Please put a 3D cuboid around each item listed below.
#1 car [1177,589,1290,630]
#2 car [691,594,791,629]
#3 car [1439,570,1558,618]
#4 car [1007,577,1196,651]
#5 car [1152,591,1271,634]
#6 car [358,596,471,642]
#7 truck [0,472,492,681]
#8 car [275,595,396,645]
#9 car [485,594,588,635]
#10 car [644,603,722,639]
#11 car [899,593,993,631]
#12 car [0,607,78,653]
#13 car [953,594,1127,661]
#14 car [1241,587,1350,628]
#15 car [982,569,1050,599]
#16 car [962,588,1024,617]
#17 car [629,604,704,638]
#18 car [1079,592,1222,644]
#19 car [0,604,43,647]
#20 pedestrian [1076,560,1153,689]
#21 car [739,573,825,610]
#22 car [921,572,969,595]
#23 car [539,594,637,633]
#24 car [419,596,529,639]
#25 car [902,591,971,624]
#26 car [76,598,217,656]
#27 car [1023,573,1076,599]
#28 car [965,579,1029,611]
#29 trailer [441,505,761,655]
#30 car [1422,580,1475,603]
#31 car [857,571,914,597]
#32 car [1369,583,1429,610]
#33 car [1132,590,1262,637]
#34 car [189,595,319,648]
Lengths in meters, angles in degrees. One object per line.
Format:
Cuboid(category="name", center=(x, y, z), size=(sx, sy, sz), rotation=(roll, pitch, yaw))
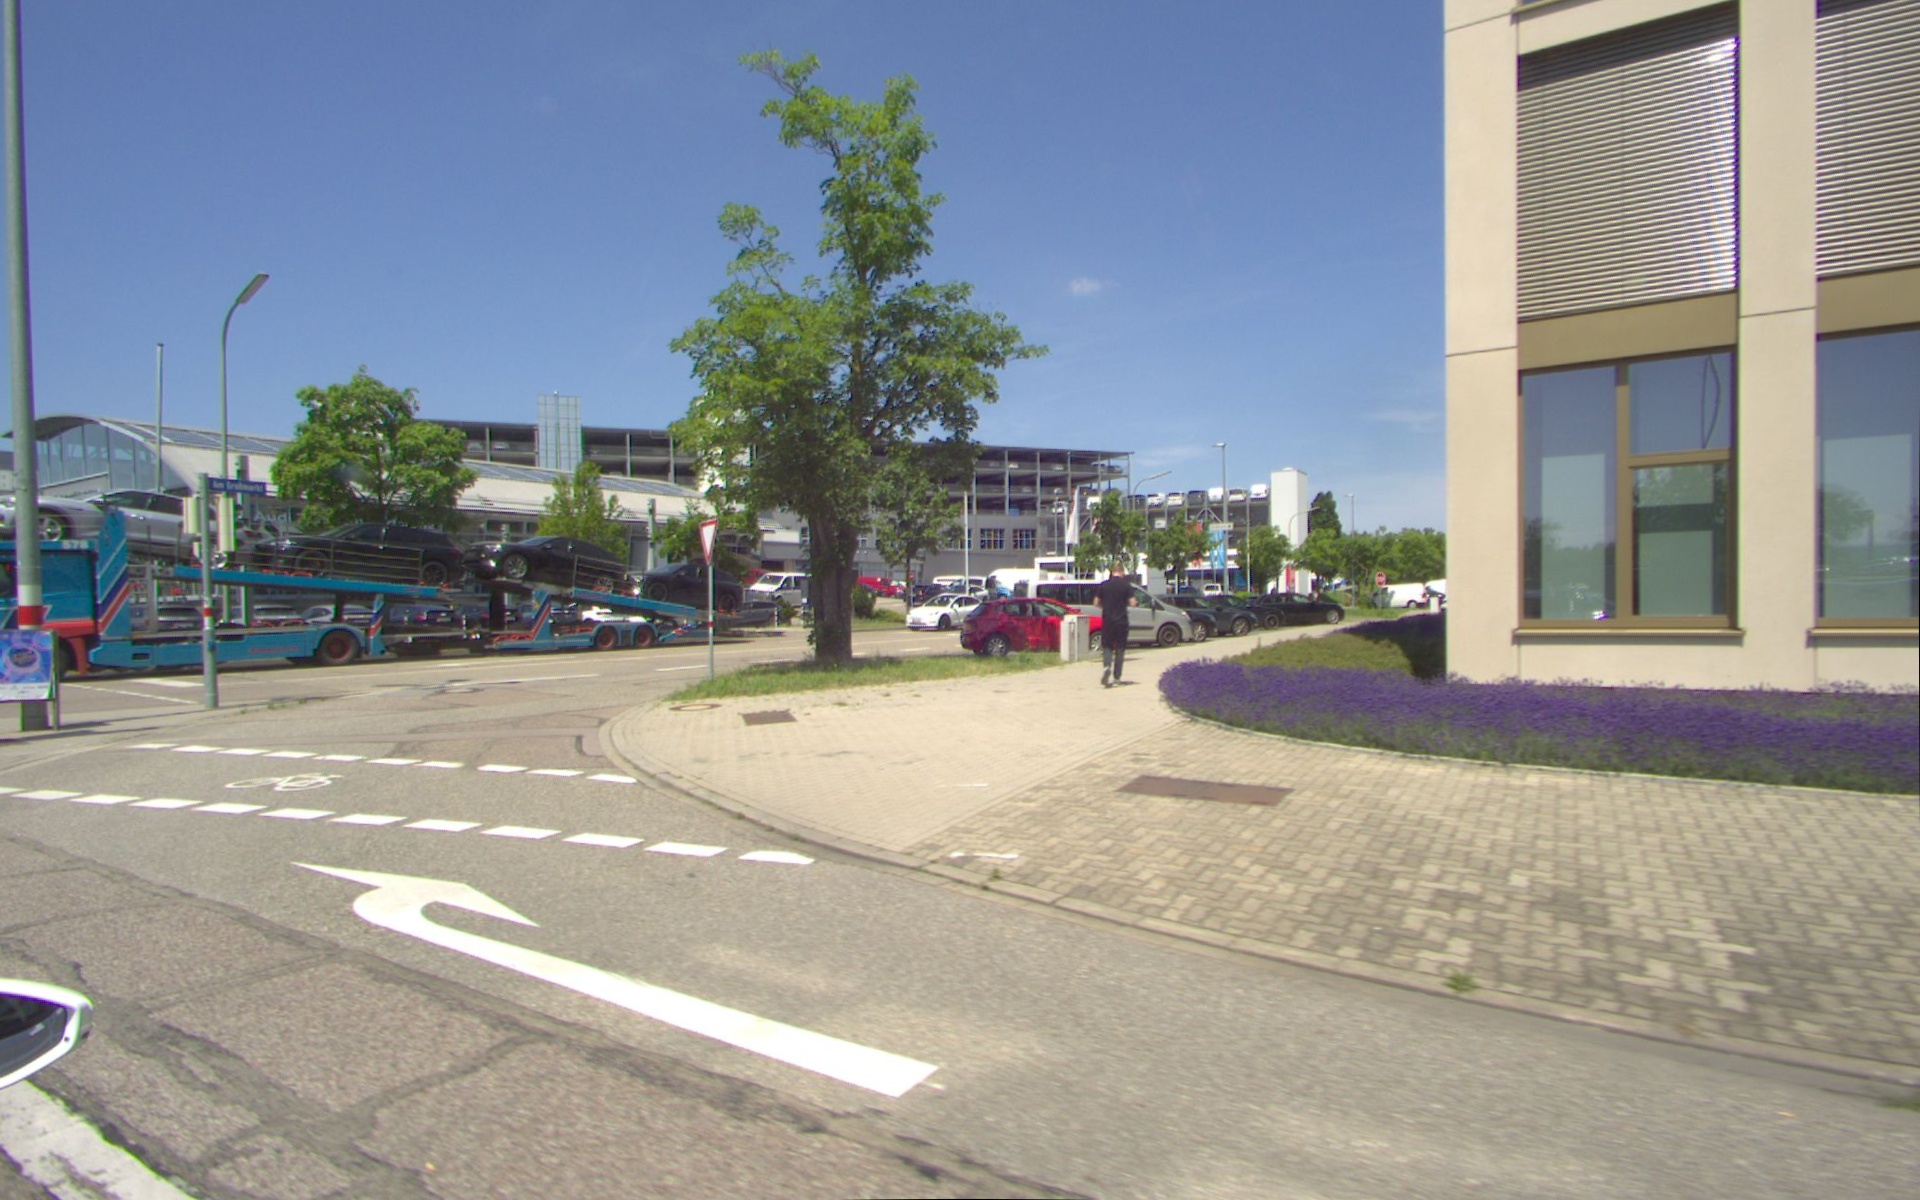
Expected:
Cuboid(category="car", center=(10.798, 0.362, 39.645), size=(3.923, 1.483, 1.718), rotation=(-1, 1, -7))
Cuboid(category="car", center=(-11.310, 0.549, 51.850), size=(4.704, 1.662, 1.820), rotation=(-1, 1, -36))
Cuboid(category="car", center=(30.400, -0.316, 56.593), size=(5.724, 2.568, 2.089), rotation=(0, 1, 36))
Cuboid(category="car", center=(3.862, 0.367, 27.533), size=(4.814, 1.840, 1.703), rotation=(-1, 1, -11))
Cuboid(category="car", center=(9.286, 0.440, 37.066), size=(3.923, 1.483, 1.718), rotation=(-1, 1, -7))
Cuboid(category="car", center=(-20.952, 0.679, 38.439), size=(4.408, 1.662, 1.824), rotation=(0, 1, 31))
Cuboid(category="truck", center=(-17.353, -0.509, 24.355), size=(3.061, 4.138, 10.574), rotation=(1, 1, 38))
Cuboid(category="car", center=(-22.413, 0.671, 35.914), size=(4.458, 1.662, 1.881), rotation=(0, 1, 31))
Cuboid(category="car", center=(-18.177, 0.598, 42.967), size=(4.408, 1.662, 1.824), rotation=(0, 1, 31))
Cuboid(category="car", center=(-14.767, 1.102, 53.458), size=(3.661, 1.801, 1.738), rotation=(-1, 1, -32))
Cuboid(category="car", center=(-0.595, 0.528, 46.430), size=(1.974, 1.610, 4.663), rotation=(2, 1, 37))
Cuboid(category="car", center=(-44.690, 1.412, 47.390), size=(1.971, 2.040, 3.978), rotation=(0, 1, 32))
Cuboid(category="car", center=(1.902, 0.633, 24.289), size=(3.924, 1.454, 1.609), rotation=(-1, 1, -9))
Cuboid(category="car", center=(14.480, 0.344, 43.416), size=(4.074, 1.559, 1.815), rotation=(-3, -1, 1))
Cuboid(category="car", center=(4.095, -1.160, 73.228), size=(4.577, 2.040, 1.990), rotation=(-1, 1, 31))
Cuboid(category="car", center=(2.335, 0.175, 71.431), size=(3.942, 2.040, 1.990), rotation=(-1, 1, 31))
Cuboid(category="car", center=(-16.346, 1.131, 55.744), size=(3.713, 1.795, 1.761), rotation=(-1, 1, -29))
Cuboid(category="car", center=(5.787, 0.519, 30.548), size=(3.924, 1.483, 1.718), rotation=(-1, 1, -9))
Cuboid(category="car", center=(-46.875, 1.247, 47.931), size=(1.971, 2.040, 3.978), rotation=(0, 1, 32))
Cuboid(category="pedestrian", center=(2.330, 0.358, 15.048), size=(0.764, 1.869, 0.861), rotation=(-2, 1, 39))
Cuboid(category="car", center=(-10.265, -0.515, 58.125), size=(1.971, 2.040, 5.118), rotation=(0, 0, 31))
Cuboid(category="car", center=(-1.471, -1.580, 96.556), size=(4.255, 2.040, 1.990), rotation=(-1, 1, 31))
Cuboid(category="car", center=(-16.867, 0.594, 45.374), size=(4.408, 1.662, 1.824), rotation=(0, 1, 31))
Cuboid(category="car", center=(-19.660, 0.663, 40.474), size=(4.407, 1.662, 1.825), rotation=(0, 1, 30))
Cuboid(category="car", center=(-1.509, 0.452, 63.839), size=(3.942, 2.040, 1.990), rotation=(-1, 1, 31))
Cuboid(category="car", center=(-25.330, 0.784, 31.150), size=(4.490, 1.662, 1.990), rotation=(0, 1, 31))
Cuboid(category="car", center=(7.397, -1.136, 82.732), size=(3.943, 2.040, 1.989), rotation=(-1, 1, 33))
Cuboid(category="car", center=(2.493, -0.331, 67.322), size=(3.942, 2.040, 1.840), rotation=(-1, 1, 31))
Cuboid(category="trailer", center=(-11.144, -0.597, 32.363), size=(3.056, 4.136, 9.572), rotation=(1, 1, 38))
Cuboid(category="car", center=(46.668, -0.808, 95.656), size=(4.302, 2.149, 2.081), rotation=(-1, 1, 35))
Cuboid(category="car", center=(-6.082, -1.288, 81.962), size=(4.284, 2.040, 1.991), rotation=(-1, 1, 29))
Cuboid(category="car", center=(33.865, -0.279, 77.262), size=(3.947, 2.040, 1.987), rotation=(-1, 1, 36))
Cuboid(category="car", center=(7.985, 0.426, 33.843), size=(3.924, 1.483, 1.718), rotation=(-1, 1, -9))
Cuboid(category="car", center=(-23.824, 0.687, 33.771), size=(4.376, 1.662, 1.990), rotation=(0, 1, 31))
